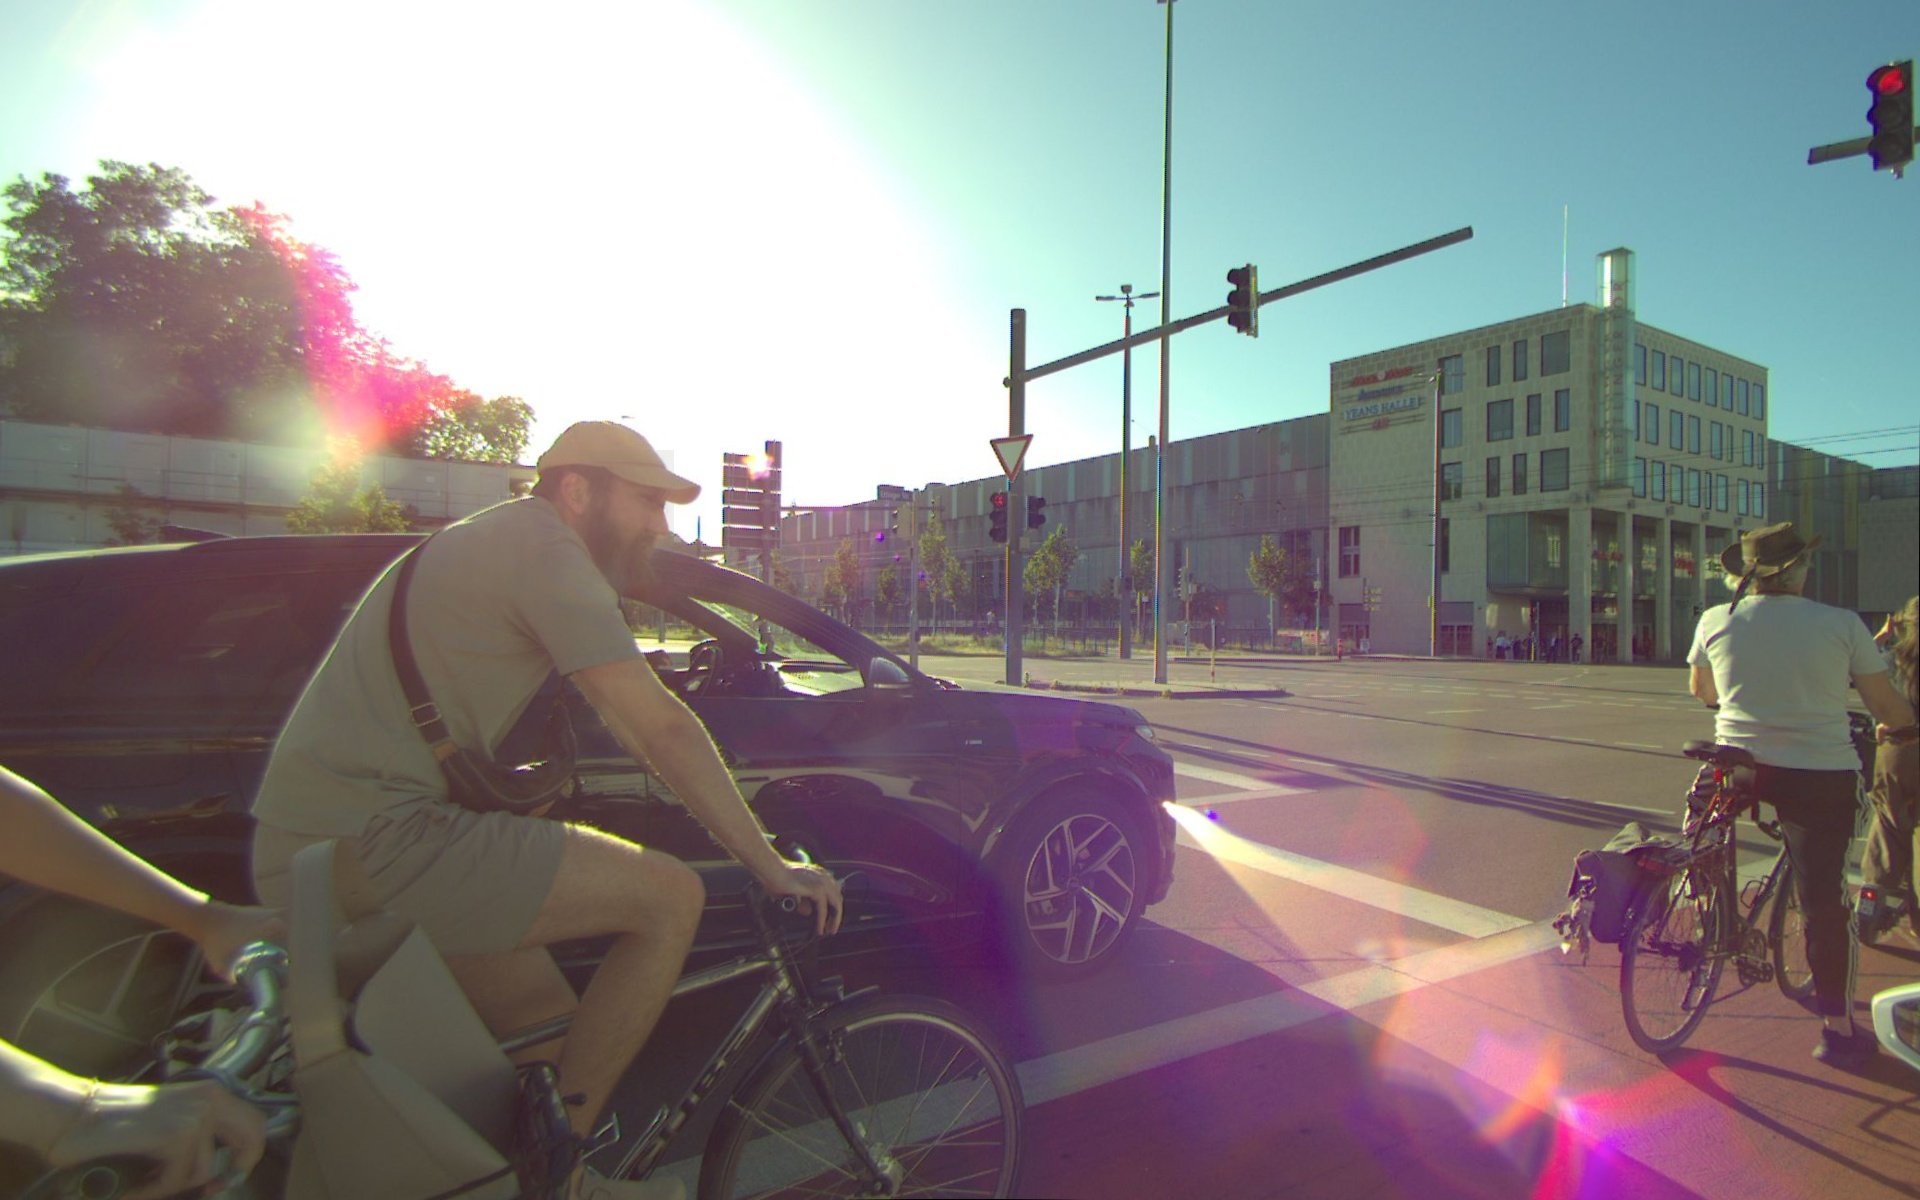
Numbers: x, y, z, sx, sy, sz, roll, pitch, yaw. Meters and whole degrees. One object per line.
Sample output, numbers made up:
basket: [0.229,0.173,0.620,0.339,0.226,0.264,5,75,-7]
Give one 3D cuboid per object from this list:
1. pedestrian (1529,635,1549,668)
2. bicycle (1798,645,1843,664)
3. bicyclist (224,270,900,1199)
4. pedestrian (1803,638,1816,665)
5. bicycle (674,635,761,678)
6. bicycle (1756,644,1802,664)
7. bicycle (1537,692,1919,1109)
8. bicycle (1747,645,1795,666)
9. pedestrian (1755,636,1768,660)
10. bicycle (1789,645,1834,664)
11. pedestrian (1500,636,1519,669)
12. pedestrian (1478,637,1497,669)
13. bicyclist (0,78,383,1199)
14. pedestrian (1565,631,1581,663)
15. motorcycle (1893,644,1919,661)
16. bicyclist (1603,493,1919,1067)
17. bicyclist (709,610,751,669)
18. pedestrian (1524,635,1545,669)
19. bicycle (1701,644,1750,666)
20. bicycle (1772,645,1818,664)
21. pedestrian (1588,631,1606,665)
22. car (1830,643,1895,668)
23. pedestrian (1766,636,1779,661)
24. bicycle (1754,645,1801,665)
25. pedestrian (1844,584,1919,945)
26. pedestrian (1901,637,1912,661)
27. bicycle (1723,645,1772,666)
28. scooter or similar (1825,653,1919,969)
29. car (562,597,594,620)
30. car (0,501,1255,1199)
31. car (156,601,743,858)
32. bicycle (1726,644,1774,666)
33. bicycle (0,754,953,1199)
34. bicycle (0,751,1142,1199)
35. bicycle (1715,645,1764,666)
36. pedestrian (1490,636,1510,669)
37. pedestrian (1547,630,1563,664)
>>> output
pedestrian: [34.408,3.046,59.688,0.710,1.910,0.779,2,0,-36]
bicycle: [59.825,3.767,69.851,0.605,1.238,2.295,1,-1,-31]
bicyclist: [-0.647,0.455,1.638,0.833,1.627,0.712,1,0,-32]
pedestrian: [56.359,3.416,66.650,0.639,1.742,0.449,0,-1,37]
bicycle: [-8.776,2.020,36.335,2.905,1.388,0.970,2,0,16]
bicycle: [54.283,3.582,66.565,0.605,1.238,2.295,1,-1,-31]
bicycle: [2.881,0.961,3.678,1.810,1.171,0.482,2,0,-31]
bicycle: [51.279,3.475,63.550,0.605,1.238,2.295,1,-1,-31]
pedestrian: [55.851,3.341,70.008,0.610,1.702,0.565,1,0,-39]
bicycle: [58.854,3.735,69.427,0.605,1.238,2.295,1,-1,-31]
pedestrian: [33.225,3.167,60.688,0.780,1.910,0.709,2,0,-37]
pedestrian: [32.294,3.214,61.506,0.710,1.910,0.779,2,0,-36]
bicyclist: [-0.944,0.488,0.732,0.866,1.600,0.638,1,0,-33]
pedestrian: [35.632,2.732,58.423,0.784,1.868,0.862,0,-1,32]
motorcycle: [70.740,3.908,74.854,0.508,1.223,1.786,1,0,-44]
bicyclist: [2.871,0.556,3.552,0.856,1.743,0.657,2,0,-30]
bicyclist: [-8.272,1.399,36.185,1.078,2.040,0.961,2,0,15]
pedestrian: [33.398,3.009,58.375,0.710,1.910,0.779,2,0,-36]
bicycle: [45.764,3.290,60.082,0.605,1.238,2.295,1,-1,-31]
bicycle: [55.521,3.621,66.829,0.605,1.238,2.295,1,-1,-31]
pedestrian: [35.874,2.696,56.582,0.784,1.868,0.863,0,-1,28]
car: [49.785,3.064,55.408,3.956,1.359,1.621,2,-4,-32]
pedestrian: [56.316,3.334,69.600,0.602,1.702,0.549,1,0,-40]
bicycle: [52.903,3.532,65.017,0.605,1.238,2.295,1,-1,-31]
pedestrian: [4.635,0.762,4.805,0.568,1.654,0.543,2,0,-45]
pedestrian: [71.099,3.672,75.454,0.579,1.702,0.516,1,1,-43]
bicycle: [48.048,3.366,61.337,0.605,1.238,2.295,1,-1,-31]
scooter or similar: [4.494,0.926,4.713,1.186,1.311,0.541,2,0,-45]
car: [-32.935,0.729,86.511,1.785,1.908,3.964,2,0,-33]
car: [-1.152,0.632,3.869,4.630,1.656,1.760,1,0,-32]
car: [-3.583,0.790,7.494,3.562,1.505,1.485,1,0,-30]
bicycle: [48.698,3.389,61.958,0.605,1.238,2.295,1,-1,-31]
bicycle: [-0.939,0.834,0.747,1.811,1.234,0.612,1,0,-33]
bicycle: [-0.660,0.910,1.607,1.949,1.124,0.643,1,0,-33]
bicycle: [46.966,3.329,60.526,0.605,1.238,2.295,1,-1,-31]
pedestrian: [32.164,3.131,59.867,0.710,1.910,0.779,2,0,-36]
pedestrian: [34.306,2.719,57.916,0.705,1.910,0.785,2,0,33]
